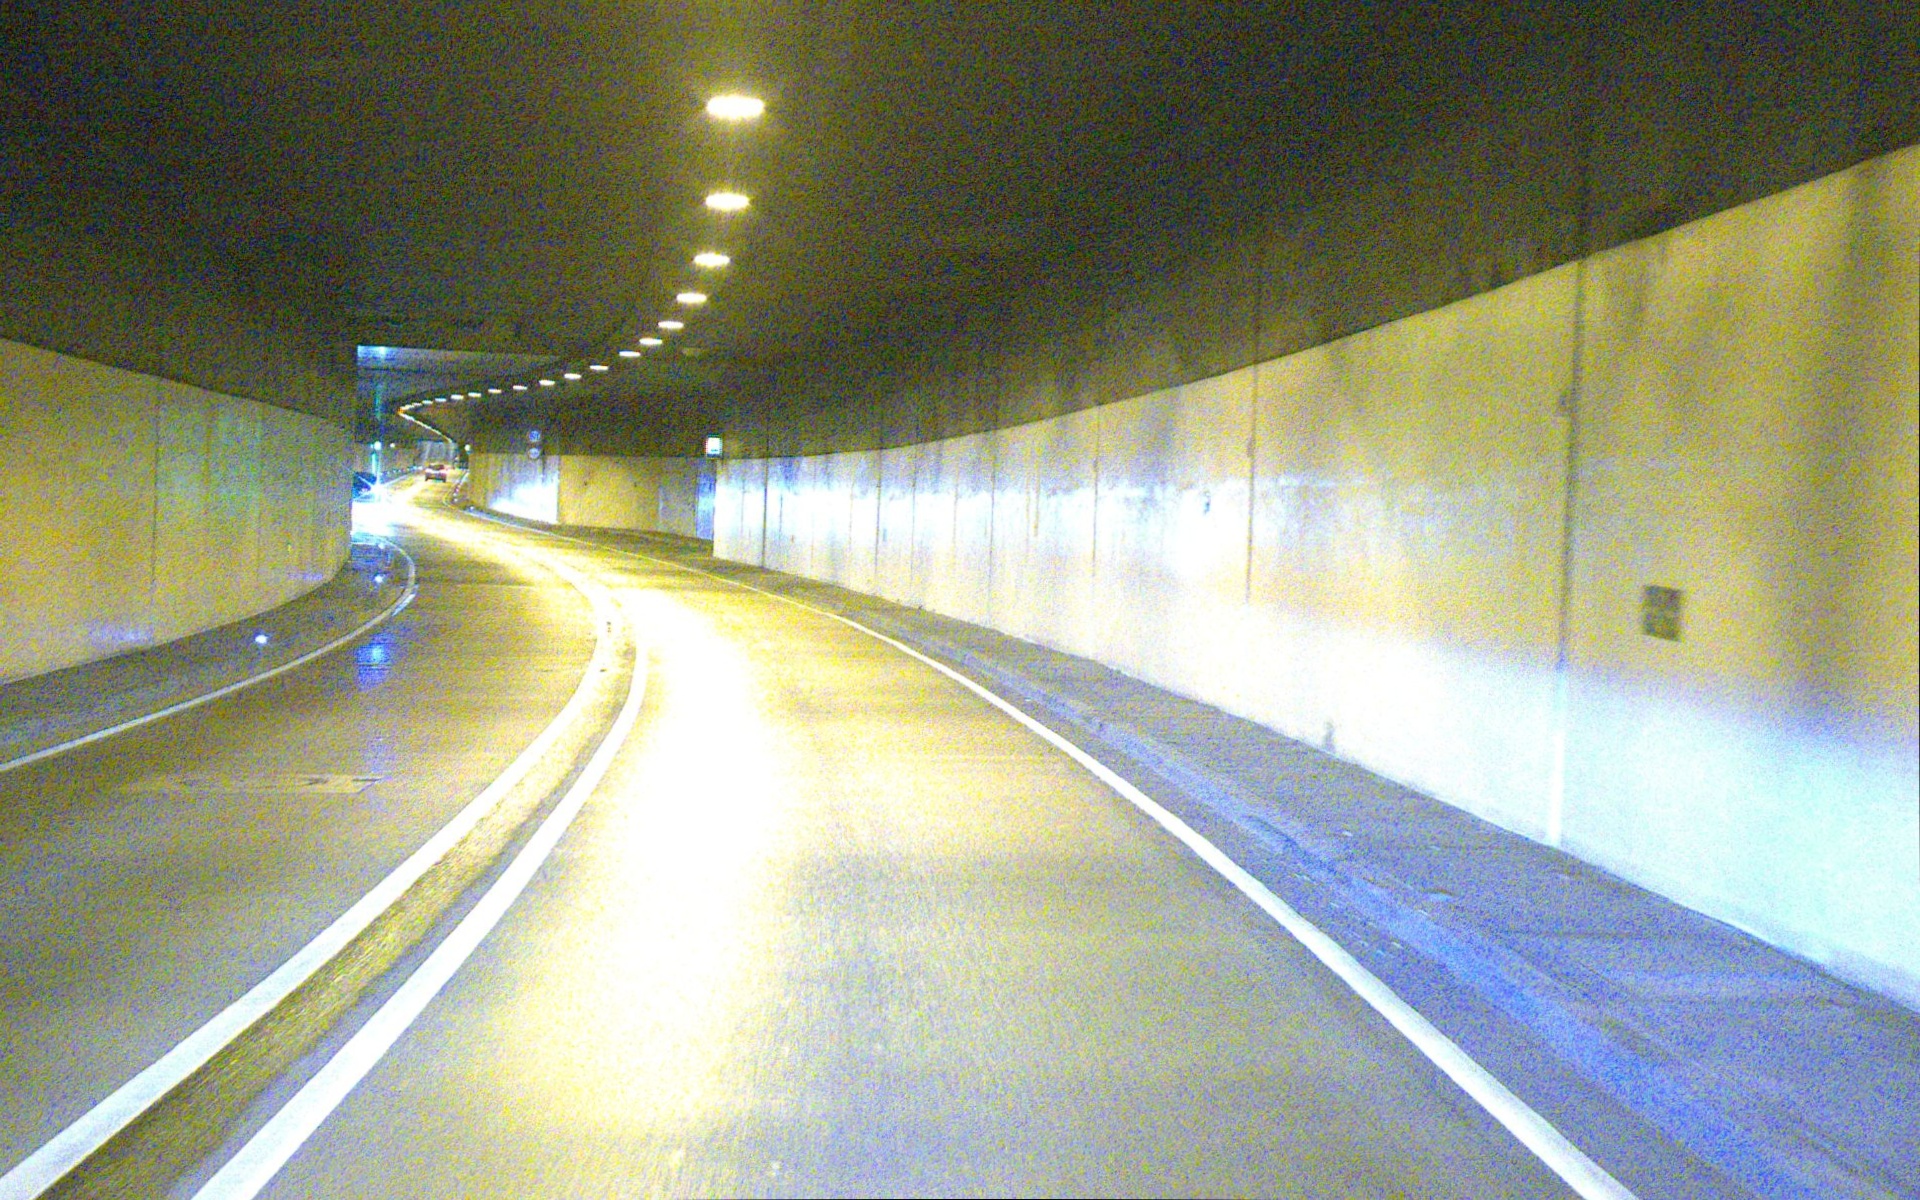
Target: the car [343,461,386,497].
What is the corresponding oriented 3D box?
[{"bbox_3d":[-29.473,-5.969,170.051,1.993,1.590,4.001,2,0,-10],"label":"car"}]
